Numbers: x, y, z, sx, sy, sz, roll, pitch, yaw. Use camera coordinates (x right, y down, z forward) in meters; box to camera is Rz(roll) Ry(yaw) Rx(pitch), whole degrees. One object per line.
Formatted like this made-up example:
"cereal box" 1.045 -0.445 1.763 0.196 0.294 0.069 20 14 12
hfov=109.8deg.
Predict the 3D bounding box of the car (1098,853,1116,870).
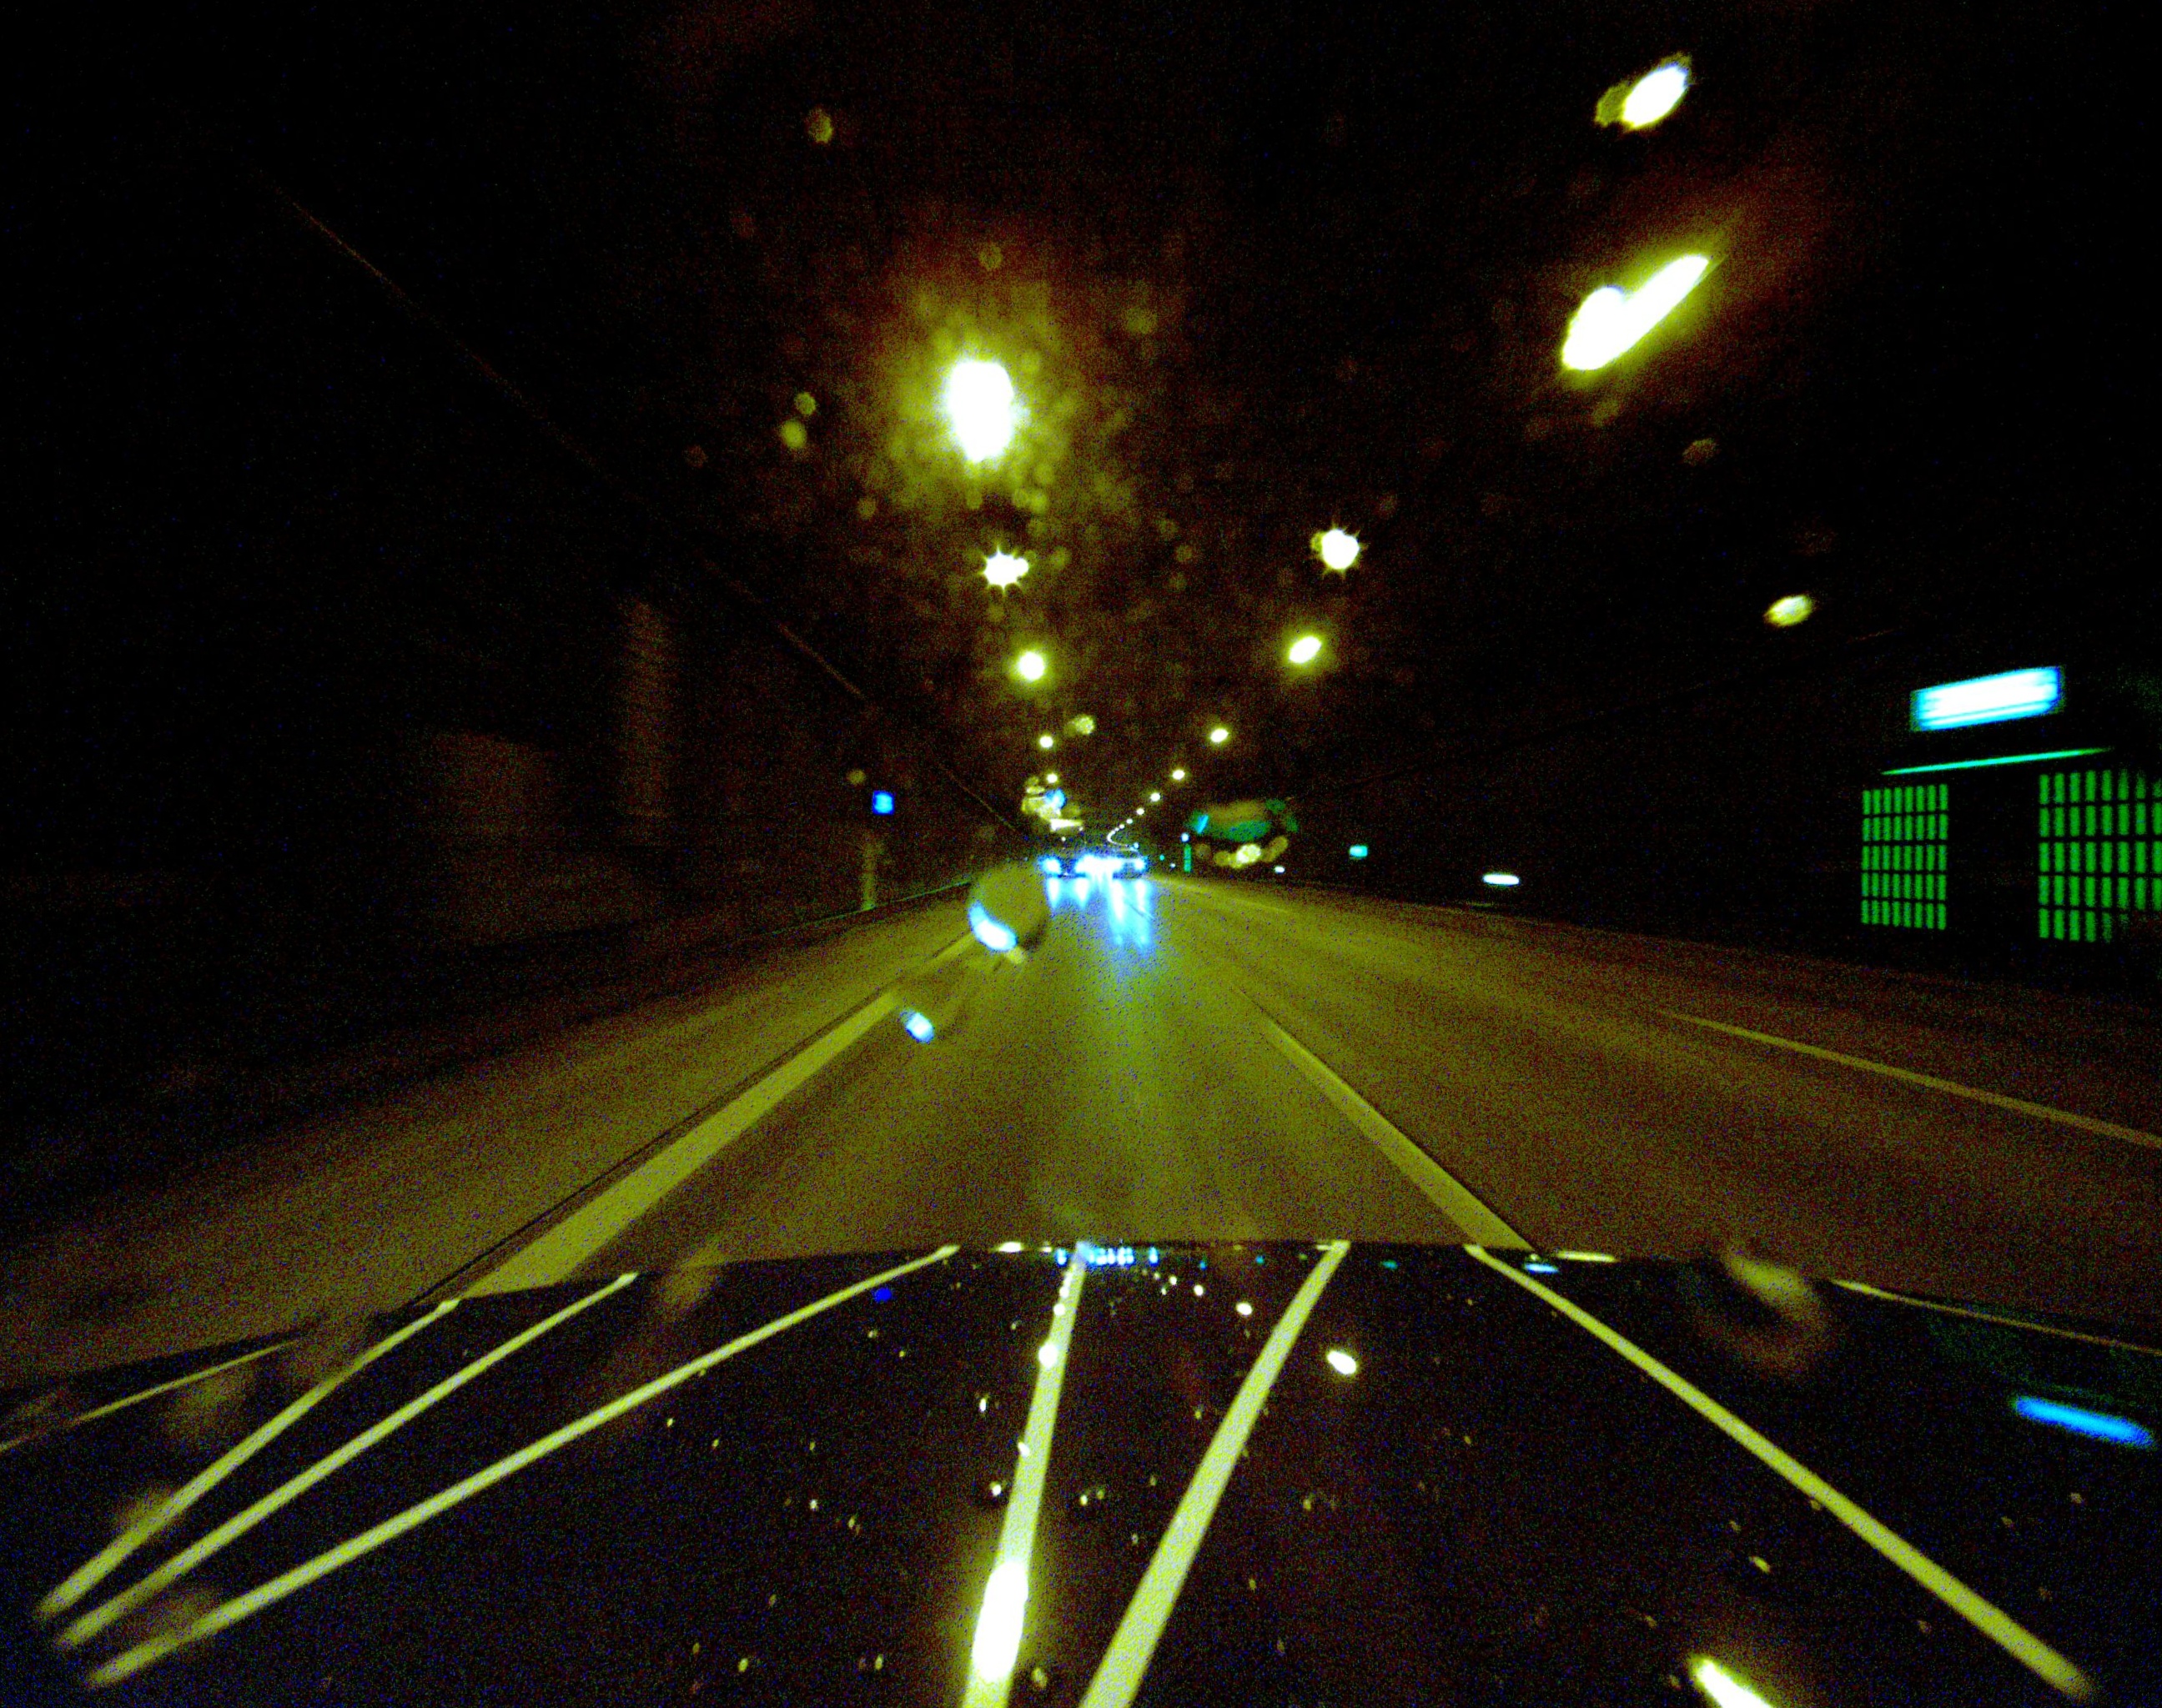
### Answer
"car" 2.996 0.852 87.611 1.998 1.890 4.000 -2 0 2

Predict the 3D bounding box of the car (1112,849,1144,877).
"car" 3.240 0.594 52.977 1.998 1.890 4.000 0 0 1

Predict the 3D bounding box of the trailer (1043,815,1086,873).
"trailer" -1.553 -0.758 61.686 2.628 4.139 13.994 1 0 -4

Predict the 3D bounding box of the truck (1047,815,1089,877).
"truck" -1.042 -0.572 55.172 2.654 4.139 6.002 2 1 -4

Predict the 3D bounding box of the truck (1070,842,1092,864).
"truck" 0.085 -0.153 139.613 2.899 3.819 9.001 2 1 7
